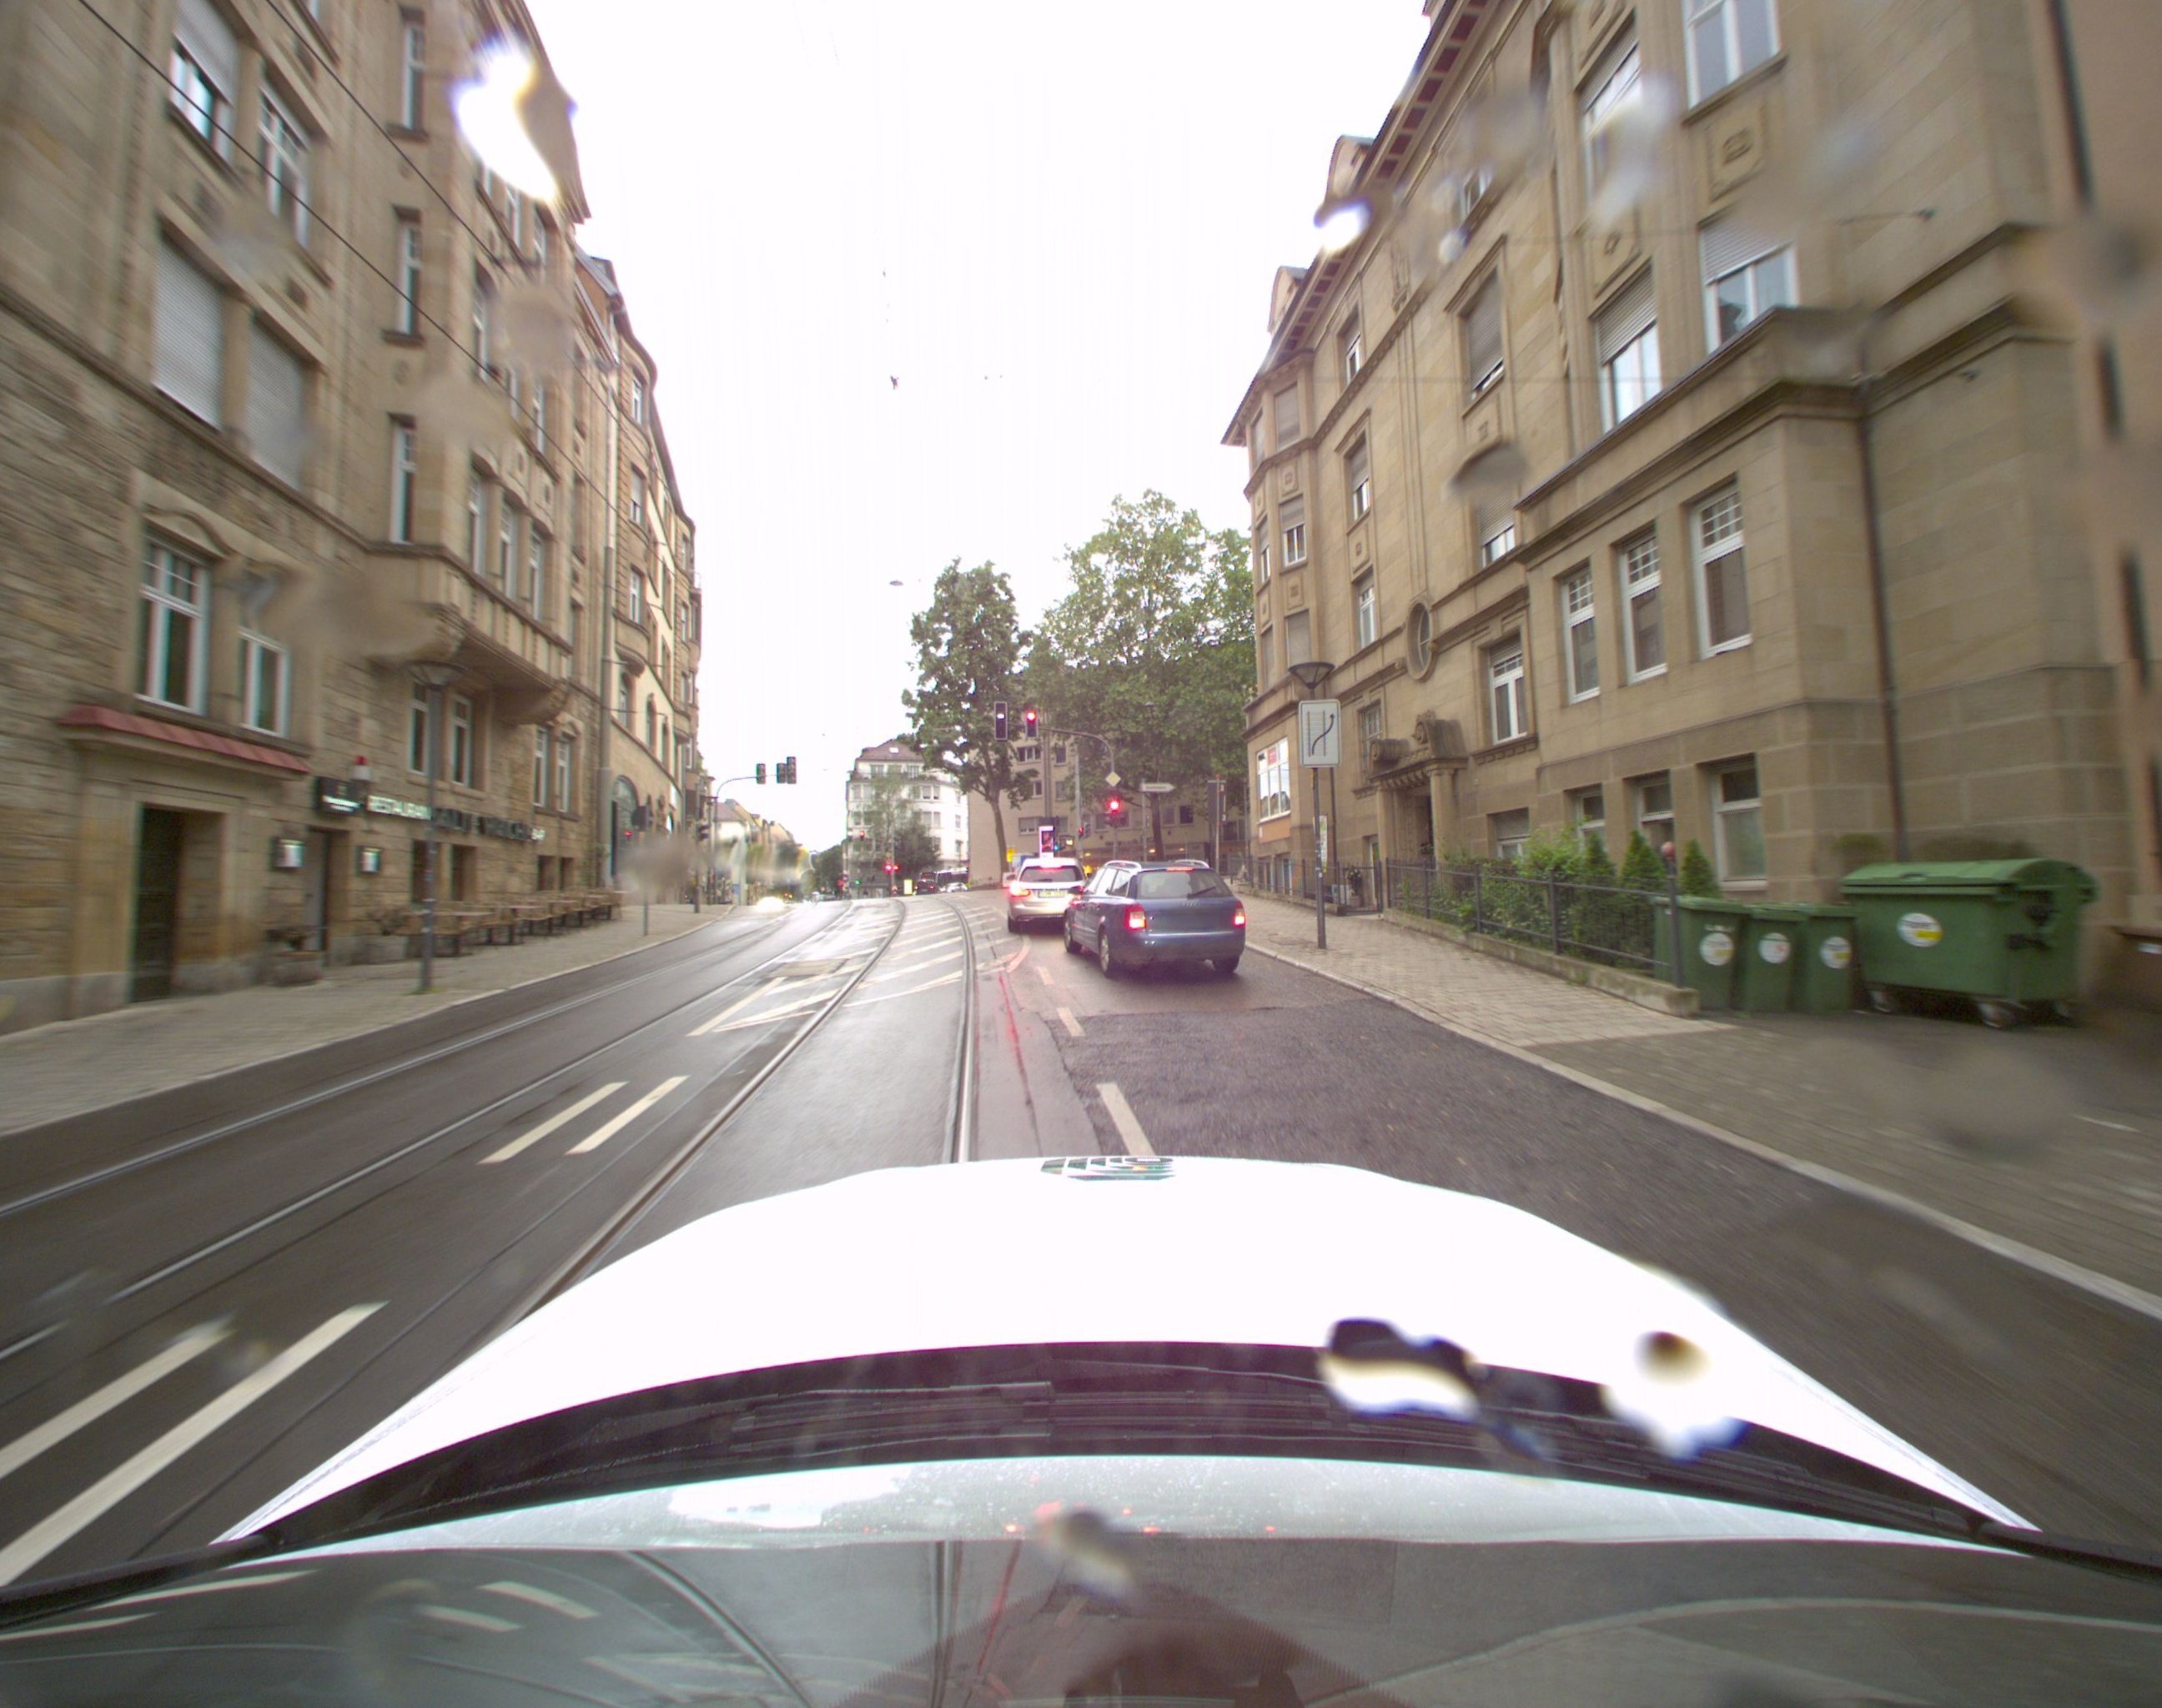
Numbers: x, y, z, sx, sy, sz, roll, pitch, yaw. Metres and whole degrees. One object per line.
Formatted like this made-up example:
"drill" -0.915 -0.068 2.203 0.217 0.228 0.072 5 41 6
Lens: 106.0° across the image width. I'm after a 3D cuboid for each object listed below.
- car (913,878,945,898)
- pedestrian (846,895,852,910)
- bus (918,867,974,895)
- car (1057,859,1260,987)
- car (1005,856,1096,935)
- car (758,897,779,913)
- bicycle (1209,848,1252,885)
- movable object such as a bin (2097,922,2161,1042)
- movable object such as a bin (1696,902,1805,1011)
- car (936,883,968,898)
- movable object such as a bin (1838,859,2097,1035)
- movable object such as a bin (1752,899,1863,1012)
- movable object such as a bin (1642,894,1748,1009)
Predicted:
"car" -13.658 3.008 73.228 1.787 1.510 4.003 -4 0 3
"pedestrian" -28.025 5.854 98.372 0.649 1.661 0.646 -1 -1 -16
"bus" -16.502 3.264 100.281 2.831 2.861 8.775 -2 0 19
"car" 0.866 0.795 11.445 1.712 1.415 4.019 -1 0 -12
"car" -0.672 0.781 17.242 1.706 1.456 3.549 -1 0 -3
"car" -34.852 5.616 90.851 1.803 1.510 4.626 -2 0 -26
"bicycle" 5.095 0.422 27.791 1.299 1.173 0.524 -4 0 -8
"movable object such as a bin" 8.900 1.054 6.723 0.393 0.943 0.518 3 -2 -7
"movable object such as a bin" 6.435 0.967 7.847 0.537 0.968 0.602 3 -2 -7
"car" -14.828 4.188 93.925 1.778 1.510 4.022 -2 0 22
"movable object such as a bin" 7.985 0.794 7.414 0.970 1.432 1.276 3 -2 -7
"movable object such as a bin" 7.071 0.970 7.944 0.537 1.026 0.602 3 -2 -7
"movable object such as a bin" 5.857 0.910 7.783 0.537 1.026 0.602 3 -2 -7
